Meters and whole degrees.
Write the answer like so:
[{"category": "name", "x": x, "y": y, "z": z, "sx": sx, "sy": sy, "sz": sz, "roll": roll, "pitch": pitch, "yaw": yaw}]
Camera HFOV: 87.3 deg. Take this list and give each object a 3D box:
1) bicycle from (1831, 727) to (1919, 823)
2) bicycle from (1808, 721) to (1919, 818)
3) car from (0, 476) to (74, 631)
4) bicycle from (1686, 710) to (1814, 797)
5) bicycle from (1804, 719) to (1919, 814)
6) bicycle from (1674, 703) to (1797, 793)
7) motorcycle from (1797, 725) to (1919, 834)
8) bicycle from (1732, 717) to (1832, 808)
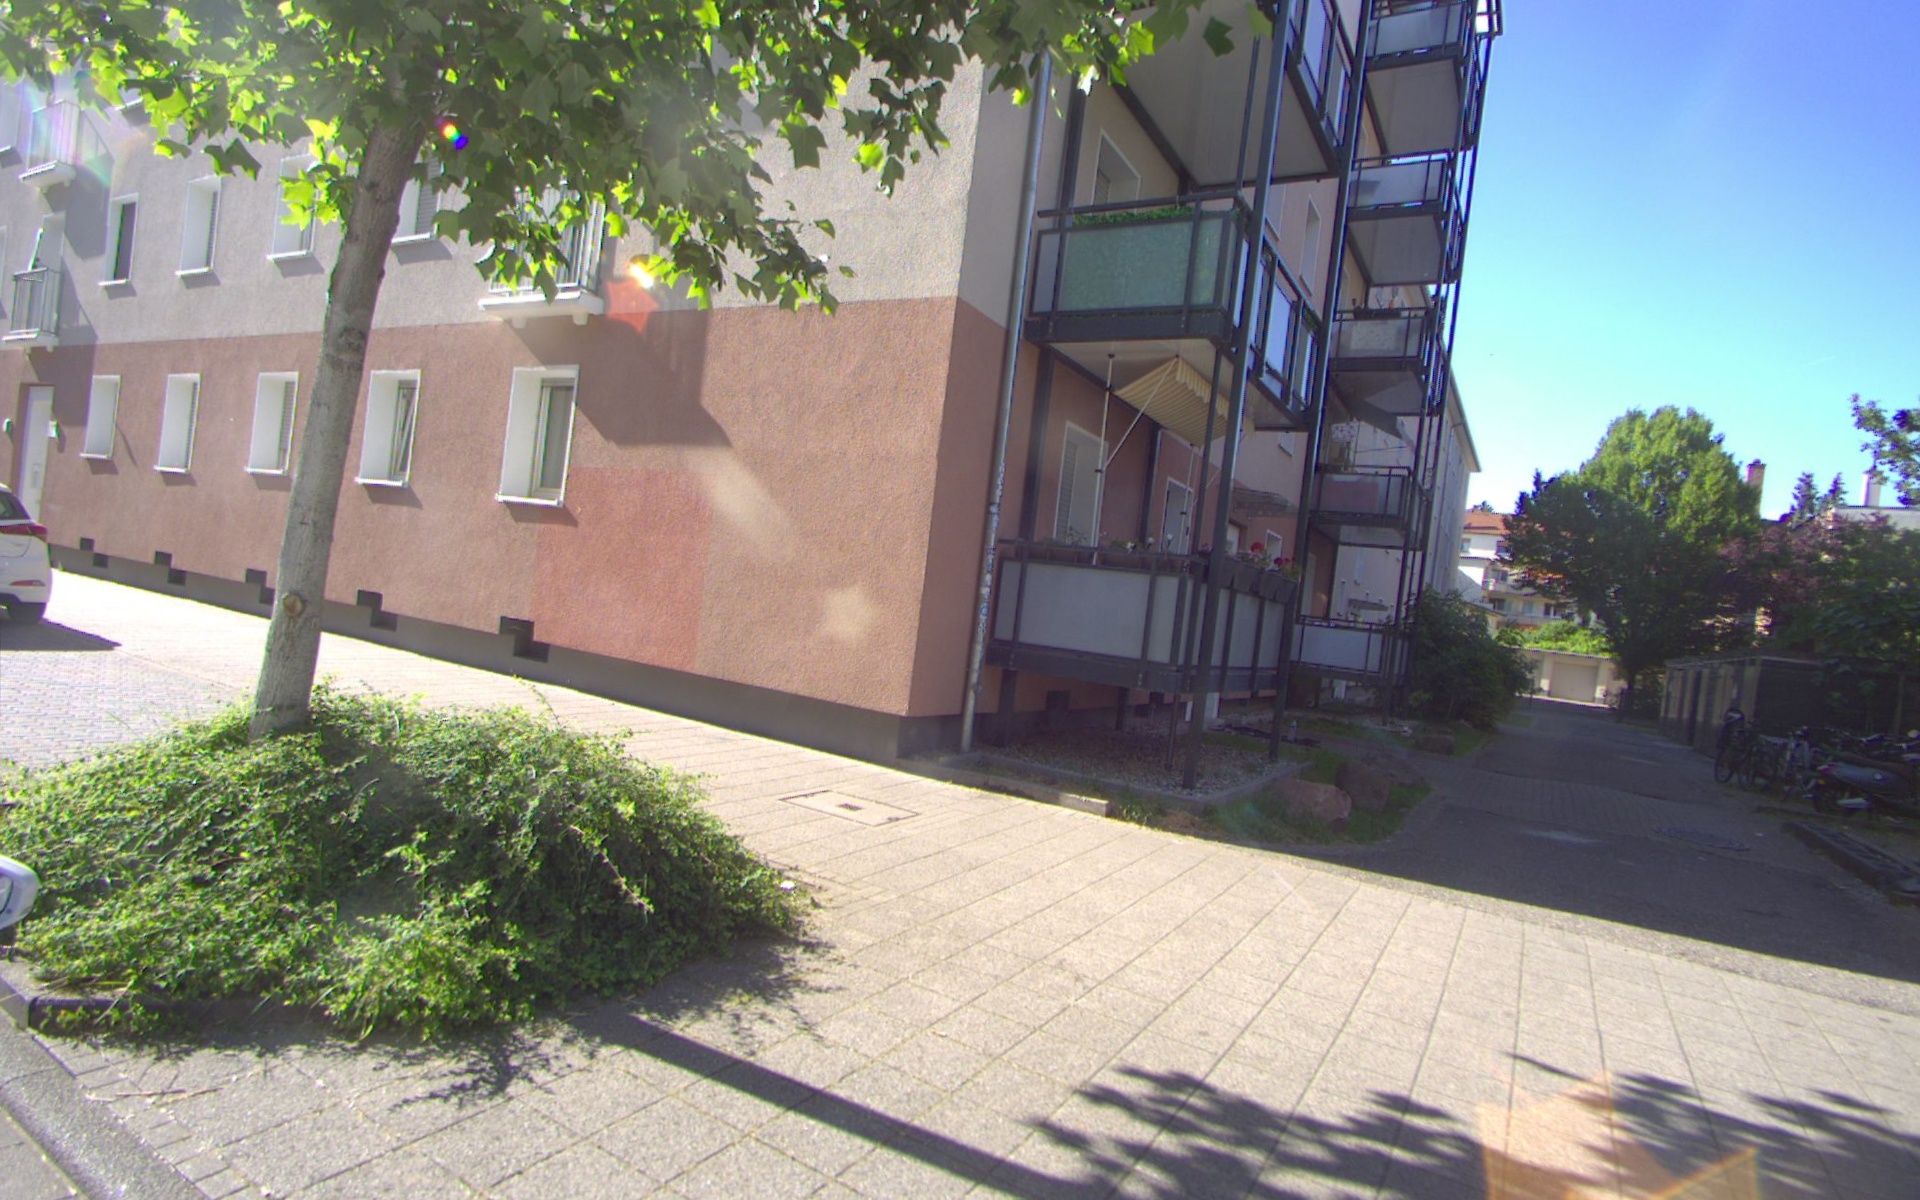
[{"category": "bicycle", "x": 12.965, "y": 2.423, "z": 13.513, "sx": 1.743, "sy": 1.120, "sz": 0.566, "roll": 7, "pitch": 1, "yaw": 32}, {"category": "bicycle", "x": 13.477, "y": 2.475, "z": 14.412, "sx": 1.850, "sy": 1.166, "sz": 0.577, "roll": 7, "pitch": 1, "yaw": 33}, {"category": "car", "x": -11.191, "y": -0.665, "z": 10.527, "sx": 3.730, "sy": 1.505, "sz": 1.733, "roll": 7, "pitch": 2, "yaw": 30}, {"category": "bicycle", "x": 12.672, "y": 2.442, "z": 16.183, "sx": 1.456, "sy": 1.112, "sz": 0.556, "roll": 7, "pitch": 1, "yaw": 33}, {"category": "bicycle", "x": 13.987, "y": 2.531, "z": 15.101, "sx": 1.850, "sy": 1.166, "sz": 0.577, "roll": 7, "pitch": 1, "yaw": 33}, {"category": "bicycle", "x": 12.868, "y": 2.431, "z": 16.746, "sx": 1.456, "sy": 1.220, "sz": 0.556, "roll": 7, "pitch": 1, "yaw": 33}, {"category": "motorcycle", "x": 11.642, "y": 2.270, "z": 12.502, "sx": 1.743, "sy": 1.120, "sz": 0.525, "roll": 7, "pitch": 1, "yaw": 32}, {"category": "bicycle", "x": 12.236, "y": 2.393, "z": 15.031, "sx": 0.547, "sy": 1.112, "sz": 1.719, "roll": 7, "pitch": 0, "yaw": 22}]
